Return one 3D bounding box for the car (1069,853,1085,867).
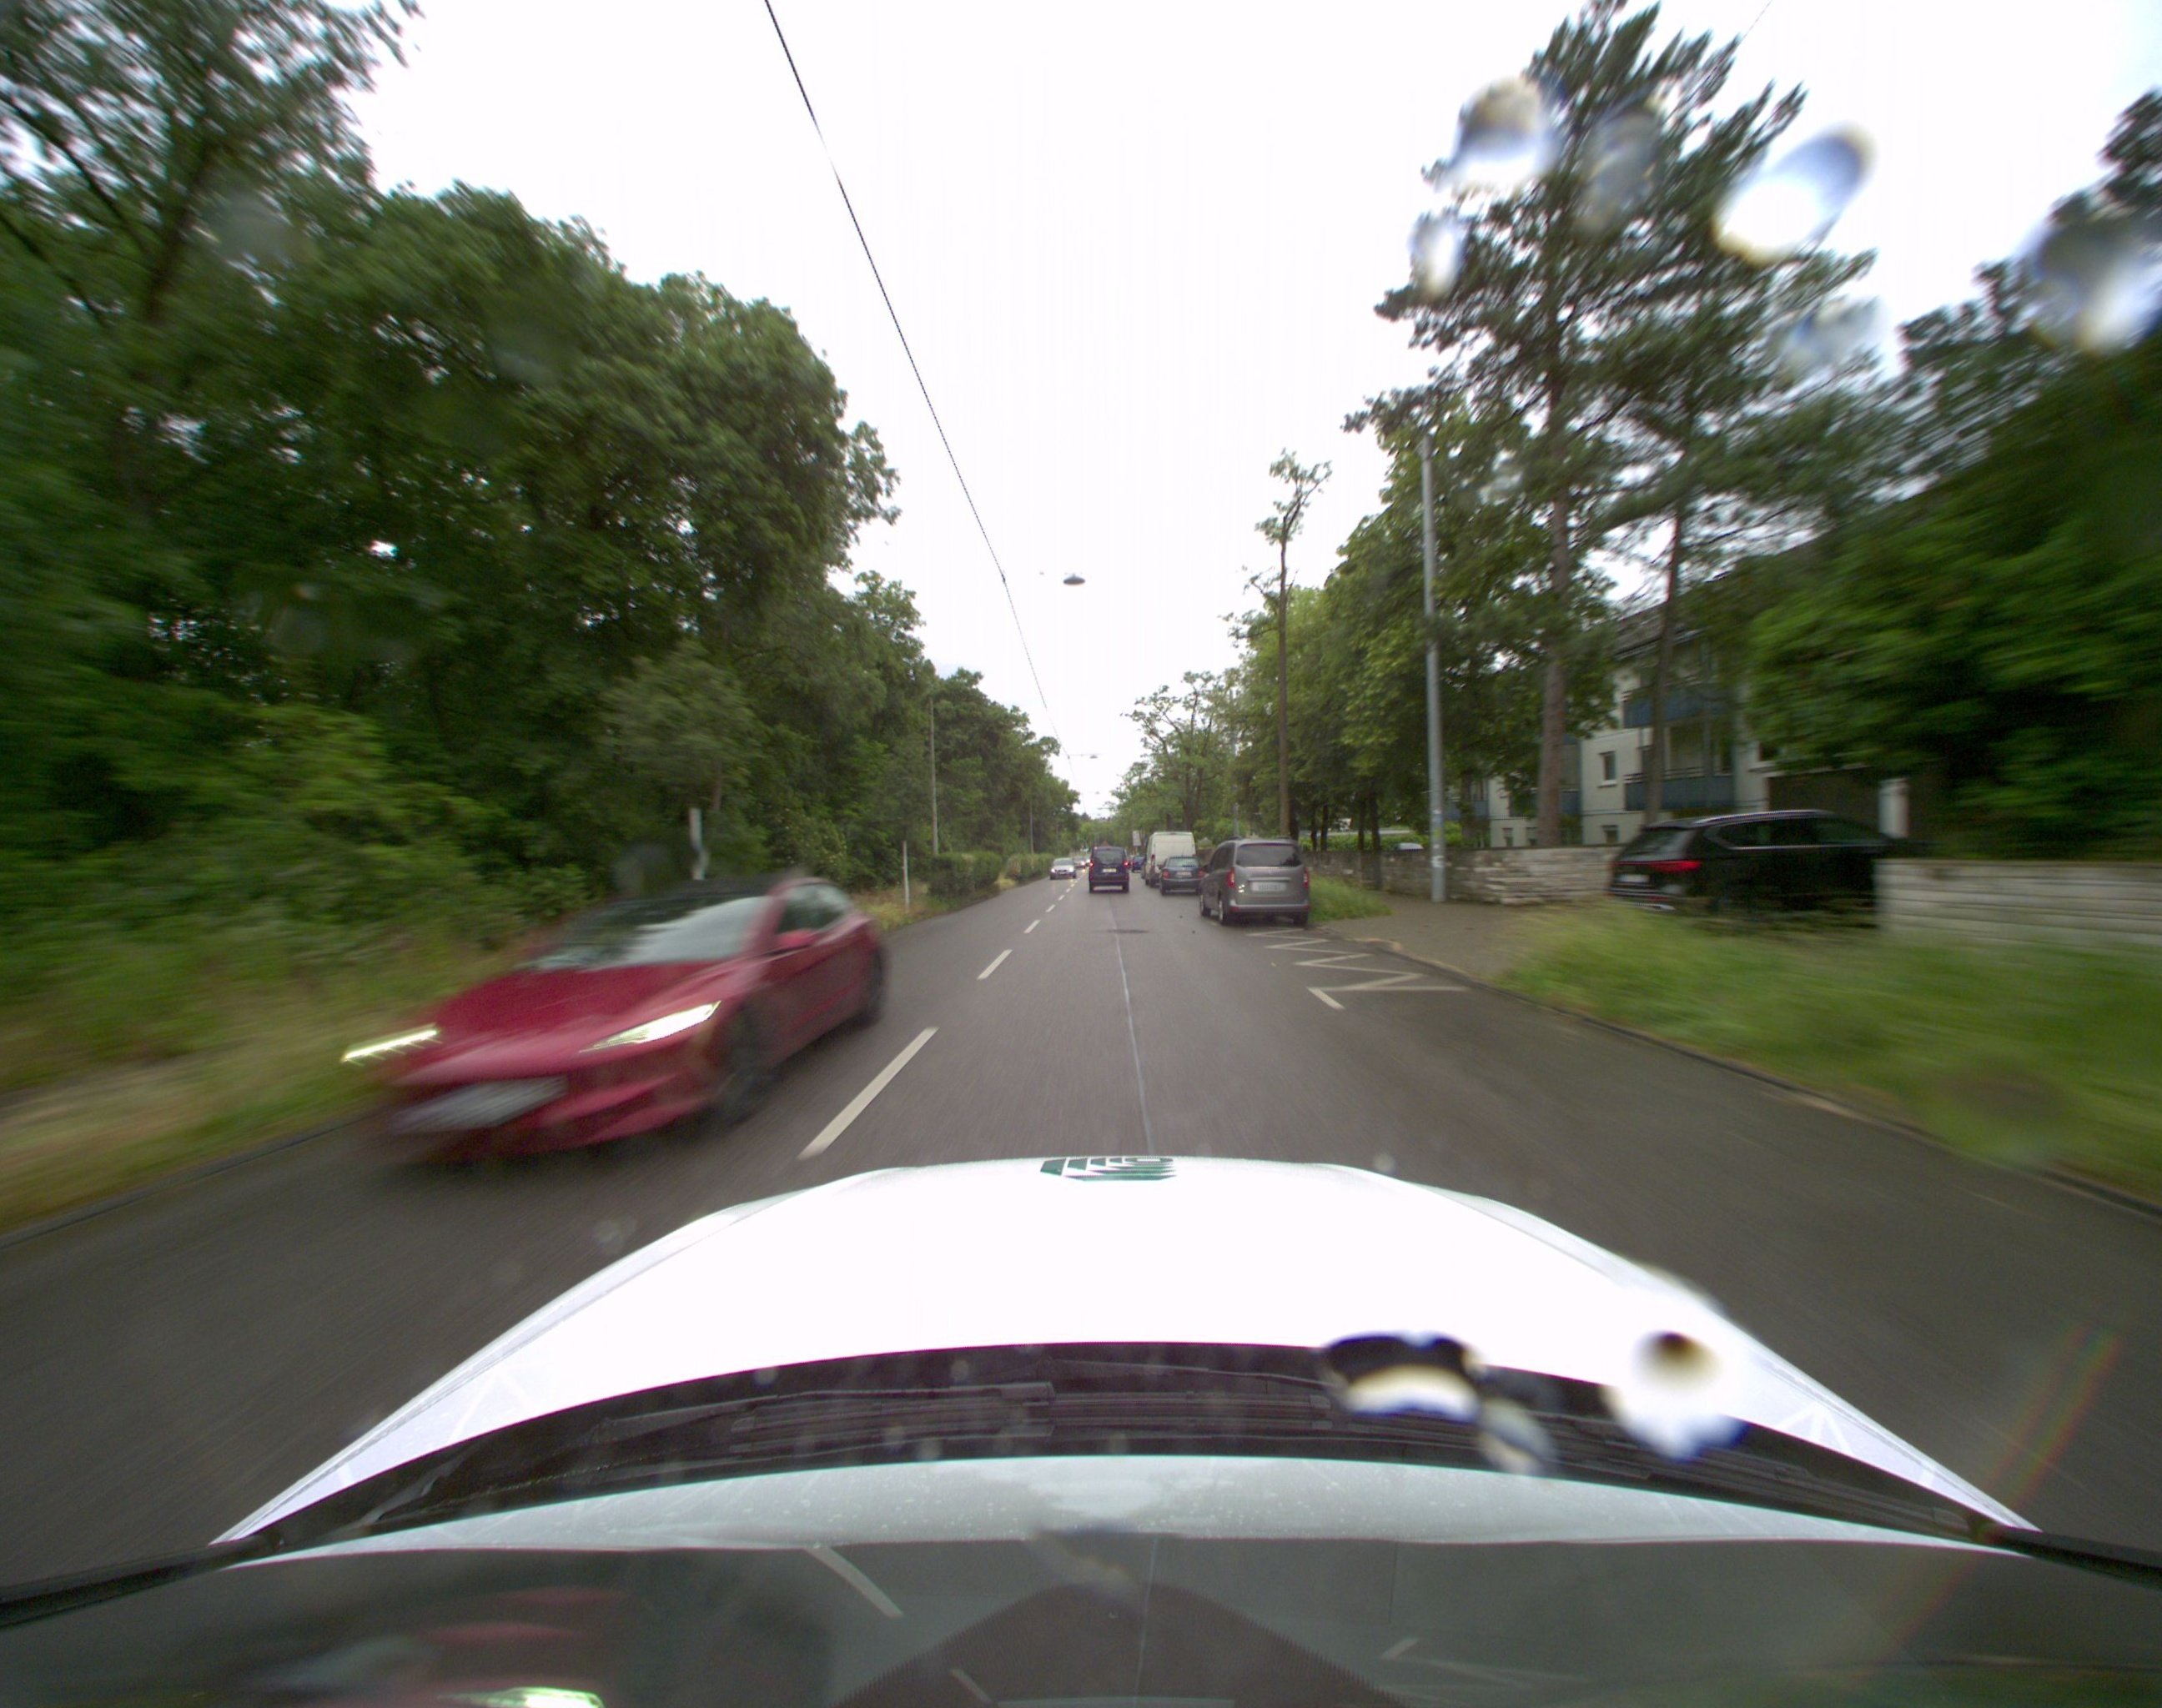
[{"bbox_3d":[-0.514,0.666,97.466,1.723,1.492,4.001,-3,1,1],"label":"car"}]

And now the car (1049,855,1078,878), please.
[{"bbox_3d":[-1.173,0.852,57.099,1.777,1.479,3.968,-2,-1,1],"label":"car"}]

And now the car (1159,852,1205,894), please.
[{"bbox_3d":[3.811,0.688,31.193,1.618,1.464,3.813,0,1,5],"label":"car"}]

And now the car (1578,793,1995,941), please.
[{"bbox_3d":[10.153,0.195,12.033,4.293,1.682,2.001,-4,-1,2],"label":"car"}]

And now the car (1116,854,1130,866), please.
[{"bbox_3d":[5.192,0.736,101.073,1.627,1.510,2.957,0,1,0],"label":"car"}]

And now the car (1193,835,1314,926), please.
[{"bbox_3d":[3.731,0.501,18.357,1.809,1.813,4.282,0,1,0],"label":"car"}]

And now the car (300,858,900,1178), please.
[{"bbox_3d":[-2.851,0.825,6.108,1.853,1.480,4.158,-3,0,2],"label":"car"}]

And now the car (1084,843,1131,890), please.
[{"bbox_3d":[1.035,0.484,33.787,1.762,1.830,3.540,0,1,-1],"label":"car"}]

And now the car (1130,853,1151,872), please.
[{"bbox_3d":[5.253,0.730,71.979,1.714,1.505,4.052,0,1,2],"label":"car"}]

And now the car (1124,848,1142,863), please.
[{"bbox_3d":[5.400,0.108,84.811,1.613,1.508,3.834,0,1,0],"label":"car"}]

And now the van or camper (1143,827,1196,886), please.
[{"bbox_3d":[4.150,0.086,39.065,2.071,2.650,5.348,0,1,1],"label":"van or camper"}]

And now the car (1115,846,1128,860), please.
[{"bbox_3d":[7.345,-0.083,149.020,2.197,2.449,4.731,-2,0,2],"label":"car"}]
